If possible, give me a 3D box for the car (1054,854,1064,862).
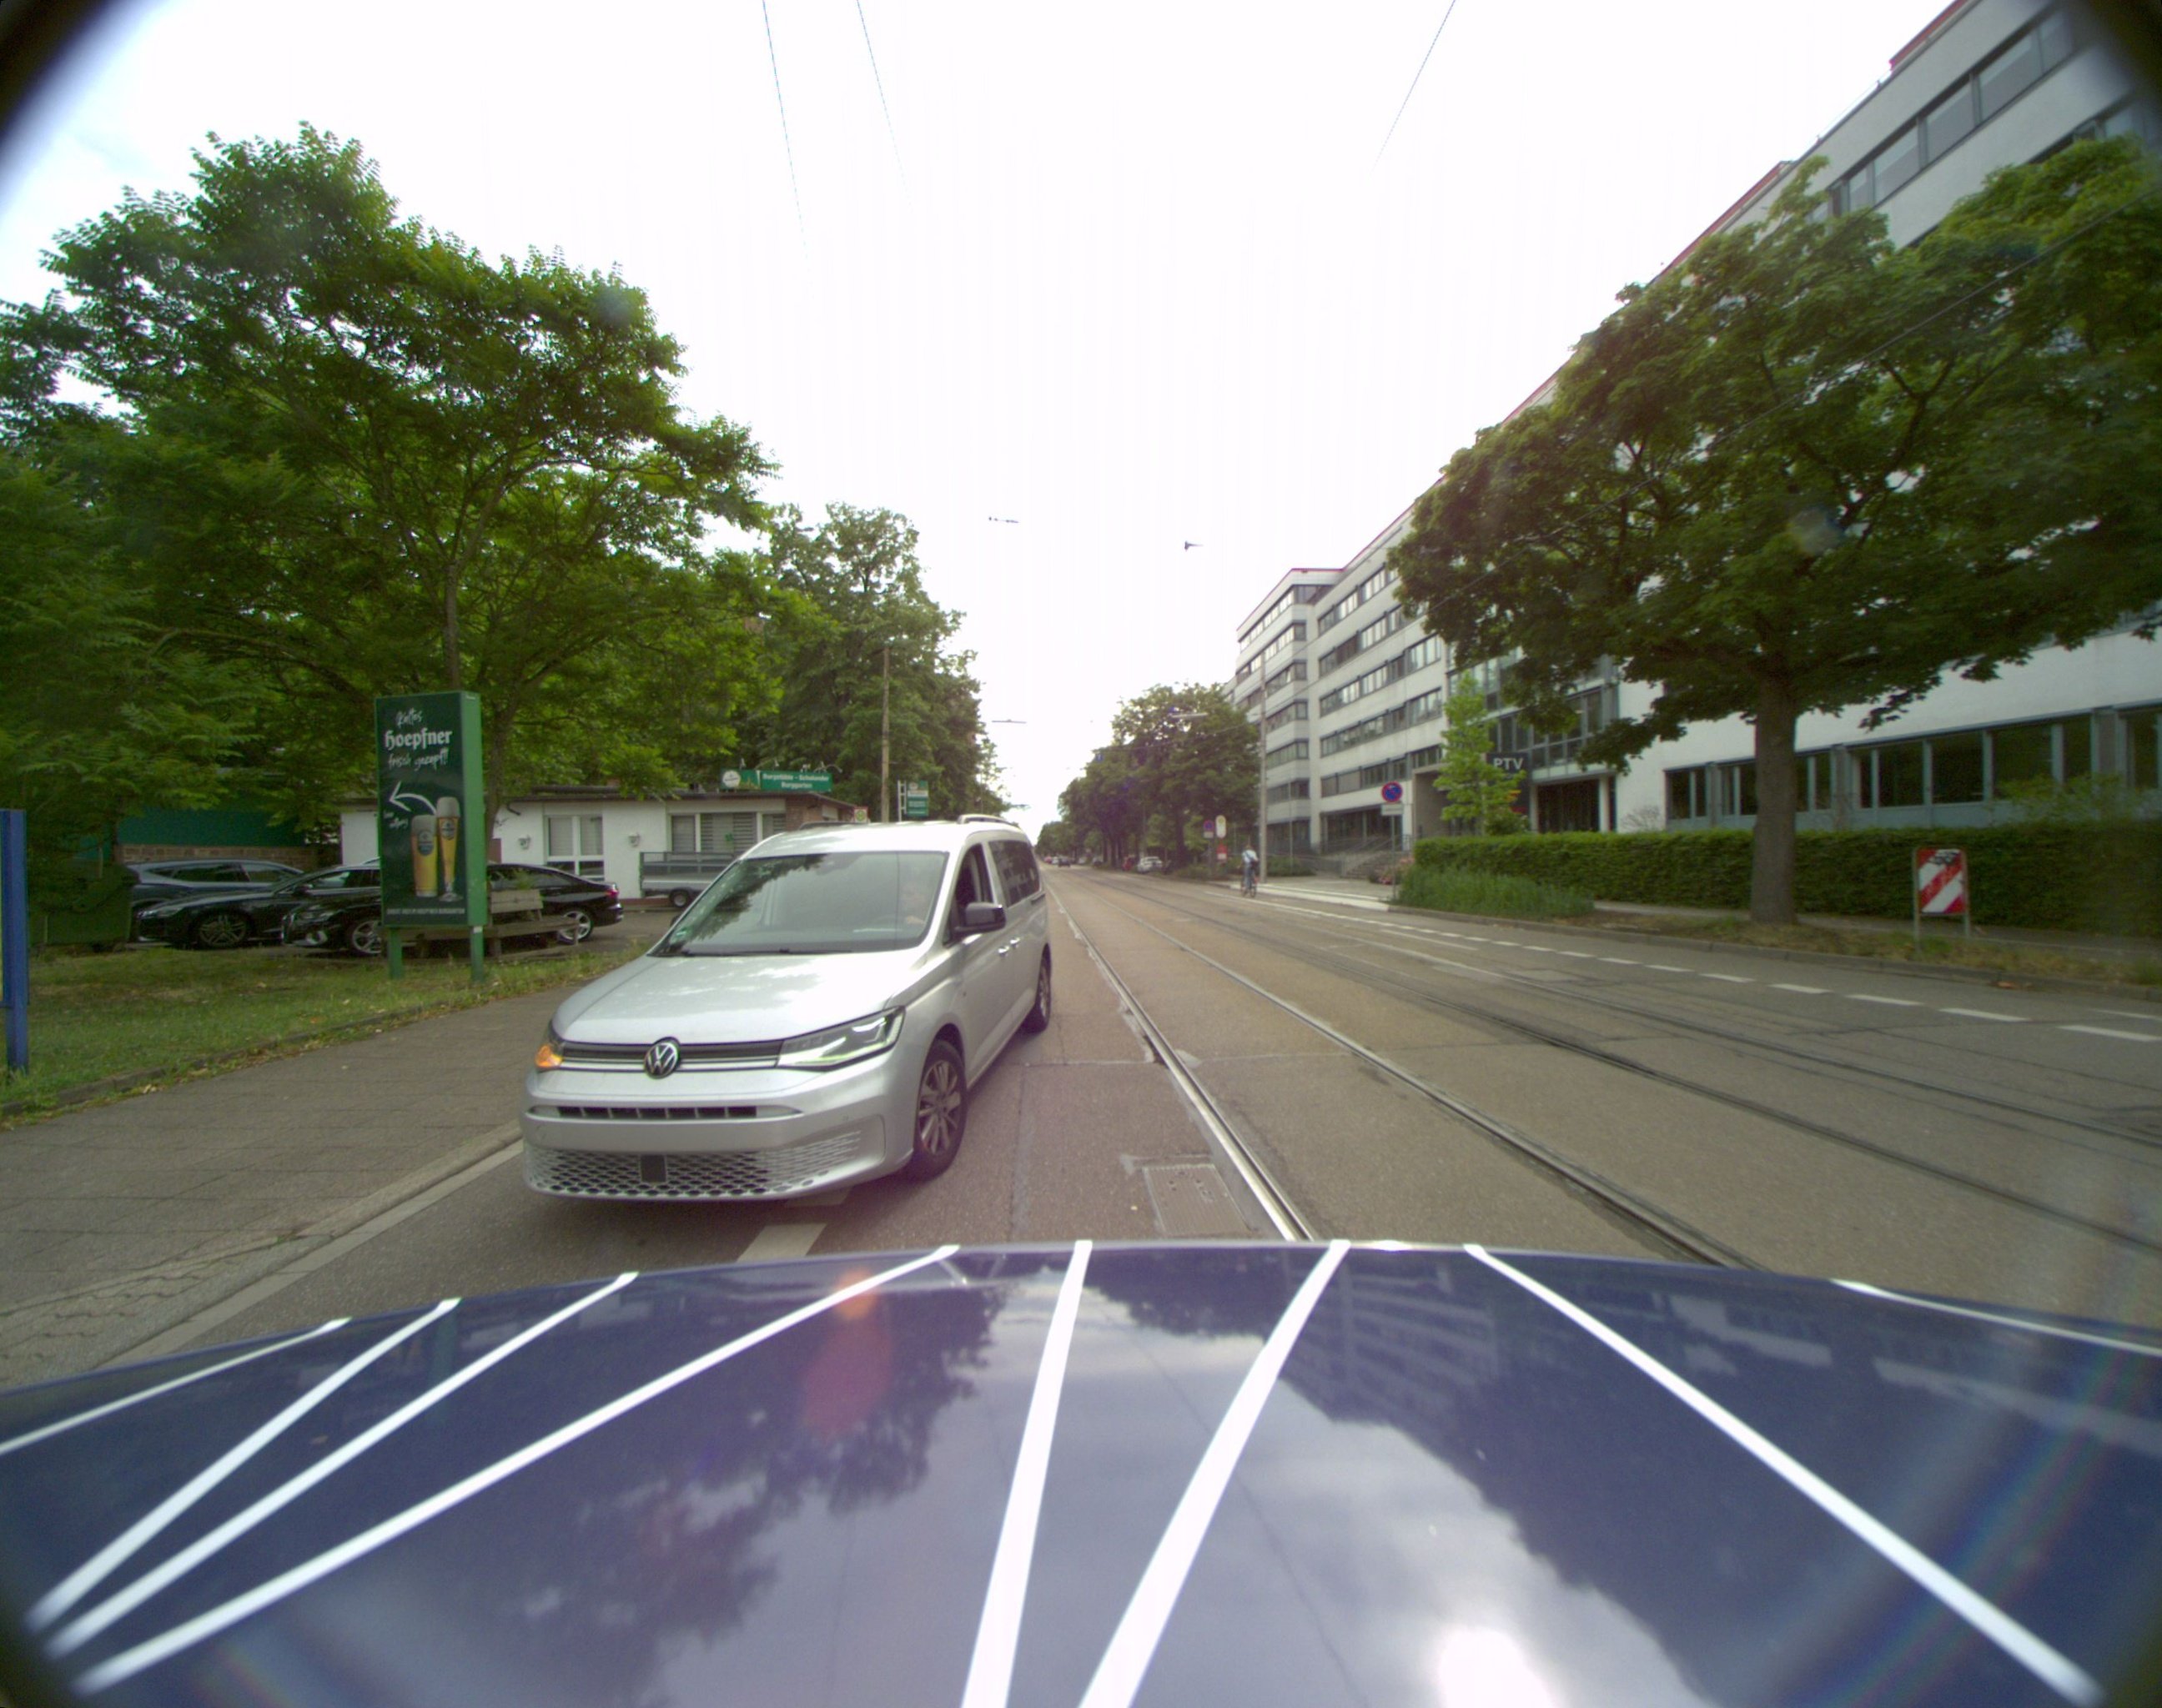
[{"bbox_3d":[-4.457,0.793,154.627,1.708,1.521,3.740,-2,1,-5],"label":"car"}]

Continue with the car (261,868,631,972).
[{"bbox_3d":[-10.565,0.969,12.969,1.929,1.399,4.594,0,0,40],"label":"car"}]

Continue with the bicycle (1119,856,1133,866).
[{"bbox_3d":[5.105,0.803,87.099,1.473,1.134,0.617,-3,1,-5],"label":"bicycle"}]

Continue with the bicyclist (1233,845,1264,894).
[{"bbox_3d":[6.018,0.547,27.302,0.738,1.739,0.977,0,1,-14],"label":"bicyclist"}]

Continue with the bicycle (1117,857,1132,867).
[{"bbox_3d":[4.918,0.861,85.577,1.475,1.085,0.616,-3,1,-16],"label":"bicycle"}]

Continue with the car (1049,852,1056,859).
[{"bbox_3d":[-7.821,0.428,205.899,1.847,1.644,4.387,1,0,-3],"label":"car"}]

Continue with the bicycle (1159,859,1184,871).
[{"bbox_3d":[7.047,0.880,59.095,1.812,0.894,0.631,0,1,-10],"label":"bicycle"}]

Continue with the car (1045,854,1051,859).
[{"bbox_3d":[-9.881,0.757,227.060,1.746,1.490,4.259,-1,0,-5],"label":"car"}]

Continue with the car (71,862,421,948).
[{"bbox_3d":[-16.411,0.907,15.203,1.980,1.450,4.501,-1,-1,36],"label":"car"}]

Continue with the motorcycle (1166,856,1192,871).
[{"bbox_3d":[7.407,0.704,57.471,1.794,1.044,0.732,-2,1,-11],"label":"motorcycle"}]

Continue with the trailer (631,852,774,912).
[{"bbox_3d":[-10.541,0.746,21.321,3.170,1.530,1.620,-1,1,-2],"label":"trailer"}]

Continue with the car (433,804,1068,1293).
[{"bbox_3d":[-1.330,0.727,5.334,1.849,1.796,4.939,-1,0,6],"label":"car"}]

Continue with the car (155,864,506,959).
[{"bbox_3d":[-13.949,0.943,14.400,1.872,1.419,4.552,2,1,39],"label":"car"}]

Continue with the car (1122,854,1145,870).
[{"bbox_3d":[5.438,0.838,78.802,1.633,1.439,3.754,-4,1,-7],"label":"car"}]

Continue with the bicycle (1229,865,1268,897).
[{"bbox_3d":[6.011,0.956,27.348,0.589,1.067,1.954,0,0,-14],"label":"bicycle"}]

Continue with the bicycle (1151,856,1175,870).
[{"bbox_3d":[6.642,0.740,61.464,1.812,1.094,0.631,0,1,-10],"label":"bicycle"}]

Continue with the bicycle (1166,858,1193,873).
[{"bbox_3d":[7.149,0.823,55.245,1.835,1.047,0.741,-1,0,-12],"label":"bicycle"}]

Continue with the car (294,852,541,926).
[{"bbox_3d":[-16.438,0.836,18.997,4.434,1.637,1.991,-1,1,2],"label":"car"}]

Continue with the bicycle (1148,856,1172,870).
[{"bbox_3d":[6.491,0.723,62.618,1.869,1.180,0.632,0,1,1],"label":"bicycle"}]

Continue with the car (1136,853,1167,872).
[{"bbox_3d":[6.032,0.733,65.720,1.886,1.485,4.751,-3,0,-4],"label":"car"}]

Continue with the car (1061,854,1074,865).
[{"bbox_3d":[-2.153,0.820,120.448,1.832,1.727,4.333,-1,1,-3],"label":"car"}]

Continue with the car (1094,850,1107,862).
[{"bbox_3d":[3.018,0.309,116.506,1.815,1.699,3.999,-3,1,0],"label":"car"}]
